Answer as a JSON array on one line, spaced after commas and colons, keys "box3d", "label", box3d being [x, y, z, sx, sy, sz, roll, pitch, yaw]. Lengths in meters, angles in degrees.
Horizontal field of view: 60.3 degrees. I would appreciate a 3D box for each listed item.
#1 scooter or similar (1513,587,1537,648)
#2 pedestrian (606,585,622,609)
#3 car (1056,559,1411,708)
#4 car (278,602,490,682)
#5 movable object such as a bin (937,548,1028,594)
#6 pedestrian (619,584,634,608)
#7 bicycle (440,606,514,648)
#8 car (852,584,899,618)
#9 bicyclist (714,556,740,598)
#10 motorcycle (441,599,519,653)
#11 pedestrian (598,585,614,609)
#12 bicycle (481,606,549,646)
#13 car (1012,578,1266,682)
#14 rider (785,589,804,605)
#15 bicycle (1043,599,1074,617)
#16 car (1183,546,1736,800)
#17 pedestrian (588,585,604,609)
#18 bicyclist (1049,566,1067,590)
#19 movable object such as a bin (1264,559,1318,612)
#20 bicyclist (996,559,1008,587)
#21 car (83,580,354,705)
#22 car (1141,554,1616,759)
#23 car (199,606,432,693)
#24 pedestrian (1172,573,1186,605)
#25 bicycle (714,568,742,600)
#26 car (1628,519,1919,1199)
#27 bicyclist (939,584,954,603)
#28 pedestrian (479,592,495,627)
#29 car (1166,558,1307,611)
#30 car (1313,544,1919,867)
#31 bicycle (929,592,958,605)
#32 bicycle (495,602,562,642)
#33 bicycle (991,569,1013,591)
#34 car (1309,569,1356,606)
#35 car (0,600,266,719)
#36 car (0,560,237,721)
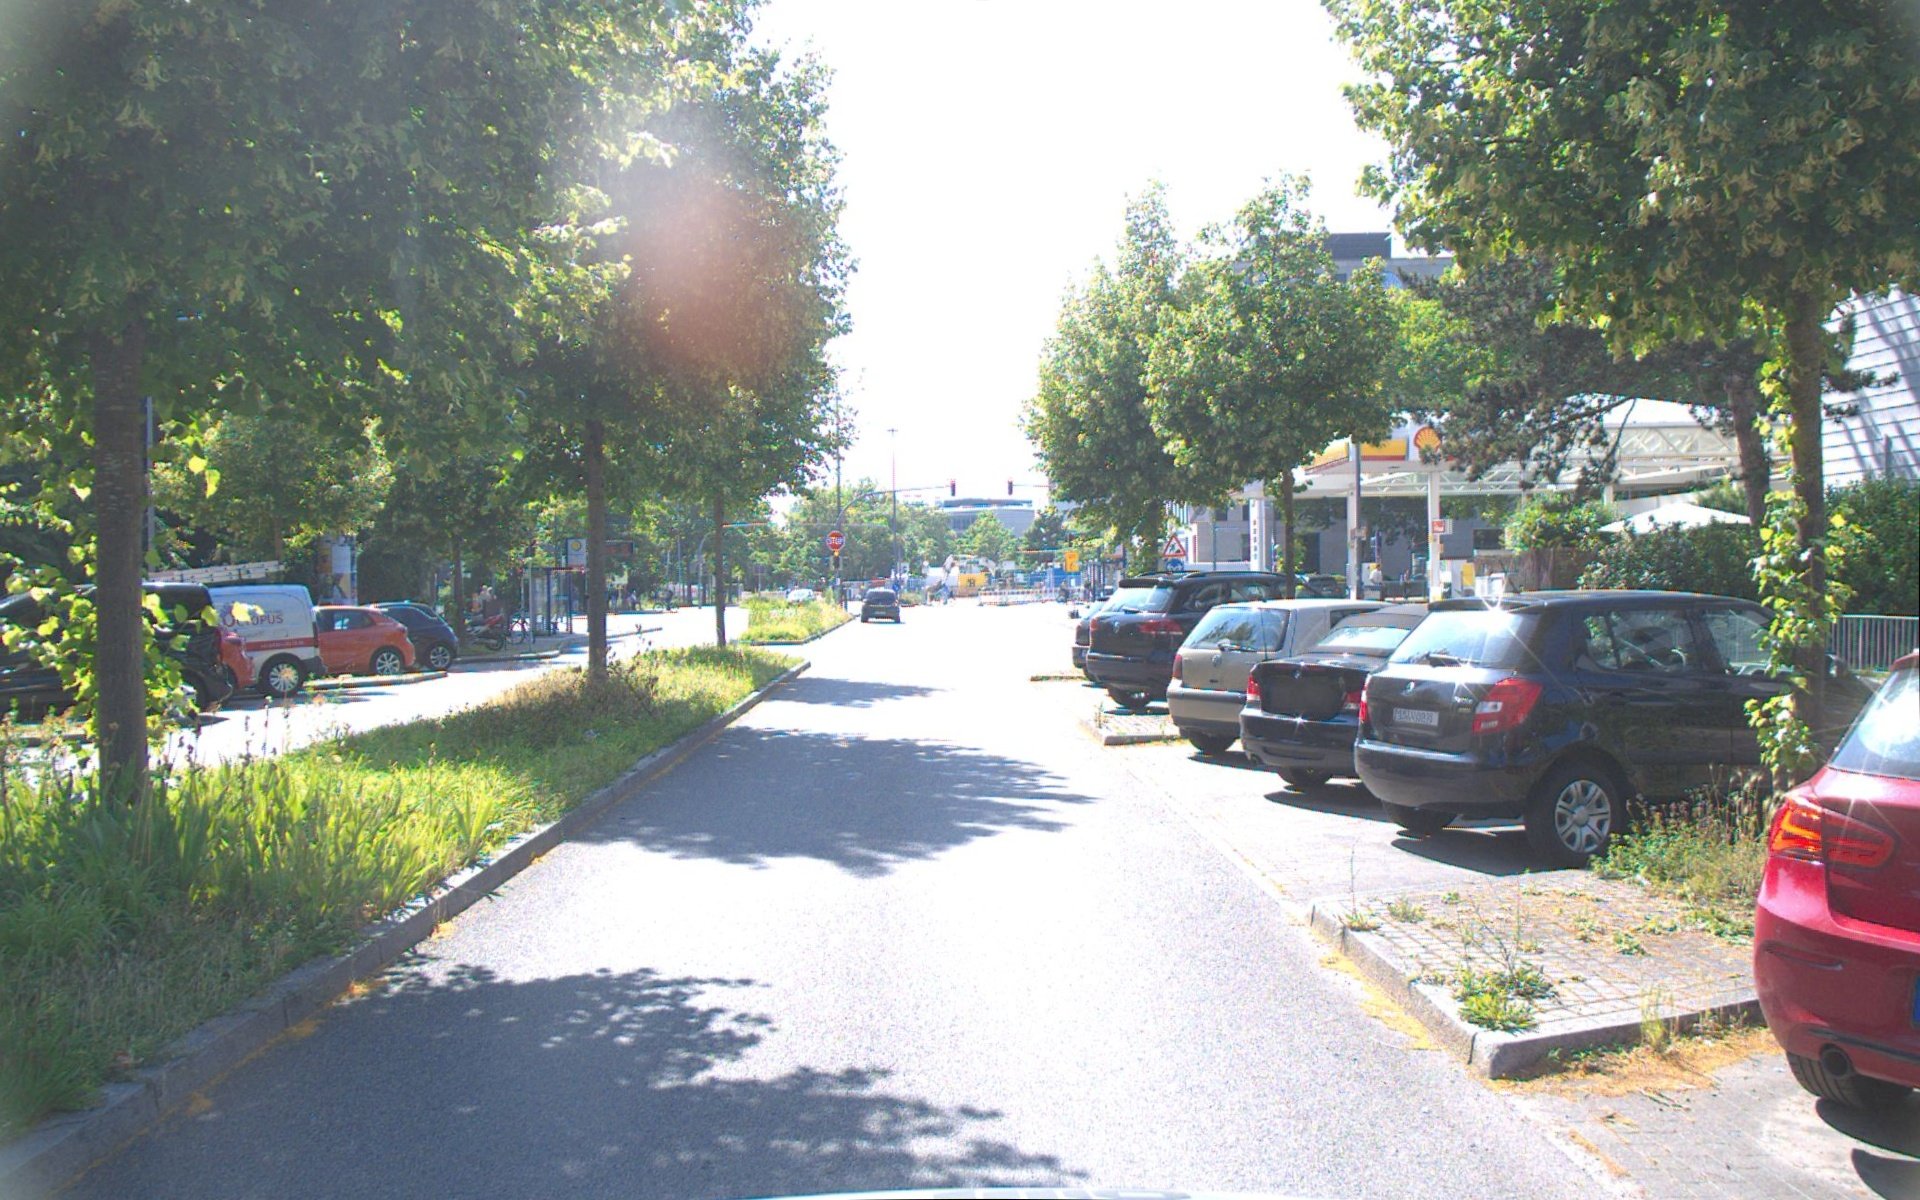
[{"box3d": [11.349, 0.344, 33.231, 0.226, 1.186, 0.958, -1, 1, 6], "label": "scooter or similar"}, {"box3d": [-23.938, -0.242, 114.552, 0.641, 1.639, 0.942, -1, 1, 22], "label": "pedestrian"}, {"box3d": [3.617, 0.357, 21.435, 4.692, 1.689, 1.731, -2, 1, -36], "label": "car"}, {"box3d": [-11.965, 0.850, 34.483, 3.743, 1.448, 1.827, -3, 0, -42], "label": "car"}, {"box3d": [2.415, -3.086, 176.041, 9.476, 4.629, 3.164, -1, 1, 0], "label": "movable object such as a bin"}, {"box3d": [-23.360, -0.265, 115.850, 0.652, 1.639, 0.942, -1, 1, 22], "label": "pedestrian"}, {"box3d": [-13.222, 0.735, 45.310, 1.807, 1.111, 0.693, -1, 1, 0], "label": "bicycle"}, {"box3d": [-3.743, 0.031, 73.096, 1.954, 1.422, 3.997, -1, 1, -4], "label": "car"}, {"box3d": [-16.929, -1.639, 120.085, 1.567, 2.982, 2.353, -1, 0, -1], "label": "bicyclist"}, {"box3d": [-12.282, 0.658, 42.390, 1.811, 1.306, 0.692, -1, 1, -8], "label": "motorcycle"}, {"box3d": [-24.667, -0.233, 115.281, 0.641, 1.639, 0.942, -1, 1, 22], "label": "pedestrian"}, {"box3d": [-13.131, 0.774, 48.813, 1.807, 1.125, 0.693, -1, 1, 0], "label": "bicycle"}, {"box3d": [3.053, 0.452, 27.795, 4.078, 1.556, 1.972, -2, 1, -39], "label": "car"}, {"box3d": [-12.837, -0.226, 128.226, 1.364, 1.216, 2.696, -1, 1, -4], "label": "rider"}, {"box3d": [7.185, 0.573, 120.766, 2.181, 1.307, 0.525, -1, 0, 7], "label": "bicycle"}, {"box3d": [3.874, 0.452, 12.827, 3.934, 1.668, 1.740, -2, 2, -24], "label": "car"}, {"box3d": [-25.393, -0.218, 115.274, 0.641, 1.639, 0.942, -1, 1, 22], "label": "pedestrian"}, {"box3d": [7.147, -1.602, 120.758, 1.213, 1.702, 0.525, -1, 0, 7], "label": "bicyclist"}, {"box3d": [10.696, -0.468, 53.483, 1.282, 1.619, 1.395, -4, 1, -4], "label": "movable object such as a bin"}, {"box3d": [3.956, -2.561, 155.005, 1.047, 2.619, 0.828, -1, 0, 5], "label": "bicyclist"}, {"box3d": [-11.816, 0.628, 26.414, 3.727, 1.803, 1.799, -2, 0, -33], "label": "car"}, {"box3d": [3.829, 0.457, 15.347, 3.919, 1.668, 1.747, -1, 1, -14], "label": "car"}, {"box3d": [-12.186, 0.891, 31.360, 3.802, 1.448, 1.693, -2, 1, -37], "label": "car"}, {"box3d": [10.958, -0.550, 82.881, 0.606, 1.570, 0.461, -1, 0, -2], "label": "pedestrian"}, {"box3d": [-16.932, -1.153, 120.908, 1.567, 2.308, 3.999, -1, 0, -1], "label": "bicycle"}, {"box3d": [3.935, 0.601, 4.935, 3.958, 1.668, 1.855, -1, 0, -38], "label": "car"}, {"box3d": [-0.939, -0.466, 116.475, 1.031, 1.297, 0.492, -1, 0, -4], "label": "bicyclist"}, {"box3d": [-23.530, 0.466, 82.264, 0.649, 1.756, 0.749, -2, 0, -19], "label": "pedestrian"}, {"box3d": [15.395, -0.886, 92.485, 7.283, 2.720, 2.900, -1, 1, -5], "label": "car"}, {"box3d": [4.377, 0.524, 10.302, 3.929, 1.668, 1.790, -2, 1, -21], "label": "car"}, {"box3d": [-1.173, -0.090, 116.474, 1.960, 0.899, 0.527, -1, 0, -3], "label": "bicycle"}, {"box3d": [-13.064, 0.665, 50.114, 1.807, 1.142, 0.693, -1, 1, 0], "label": "bicycle"}, {"box3d": [3.938, -1.879, 155.005, 2.044, 1.996, 0.828, -1, 0, 5], "label": "bicycle"}, {"box3d": [15.101, -0.510, 67.229, 1.615, 1.422, 3.645, -1, 0, 9], "label": "car"}, {"box3d": [-12.088, 0.801, 23.647, 3.727, 1.452, 1.835, -3, 2, -33], "label": "car"}, {"box3d": [-11.559, 0.482, 20.772, 4.149, 1.848, 1.976, -3, 2, -39], "label": "car"}]
